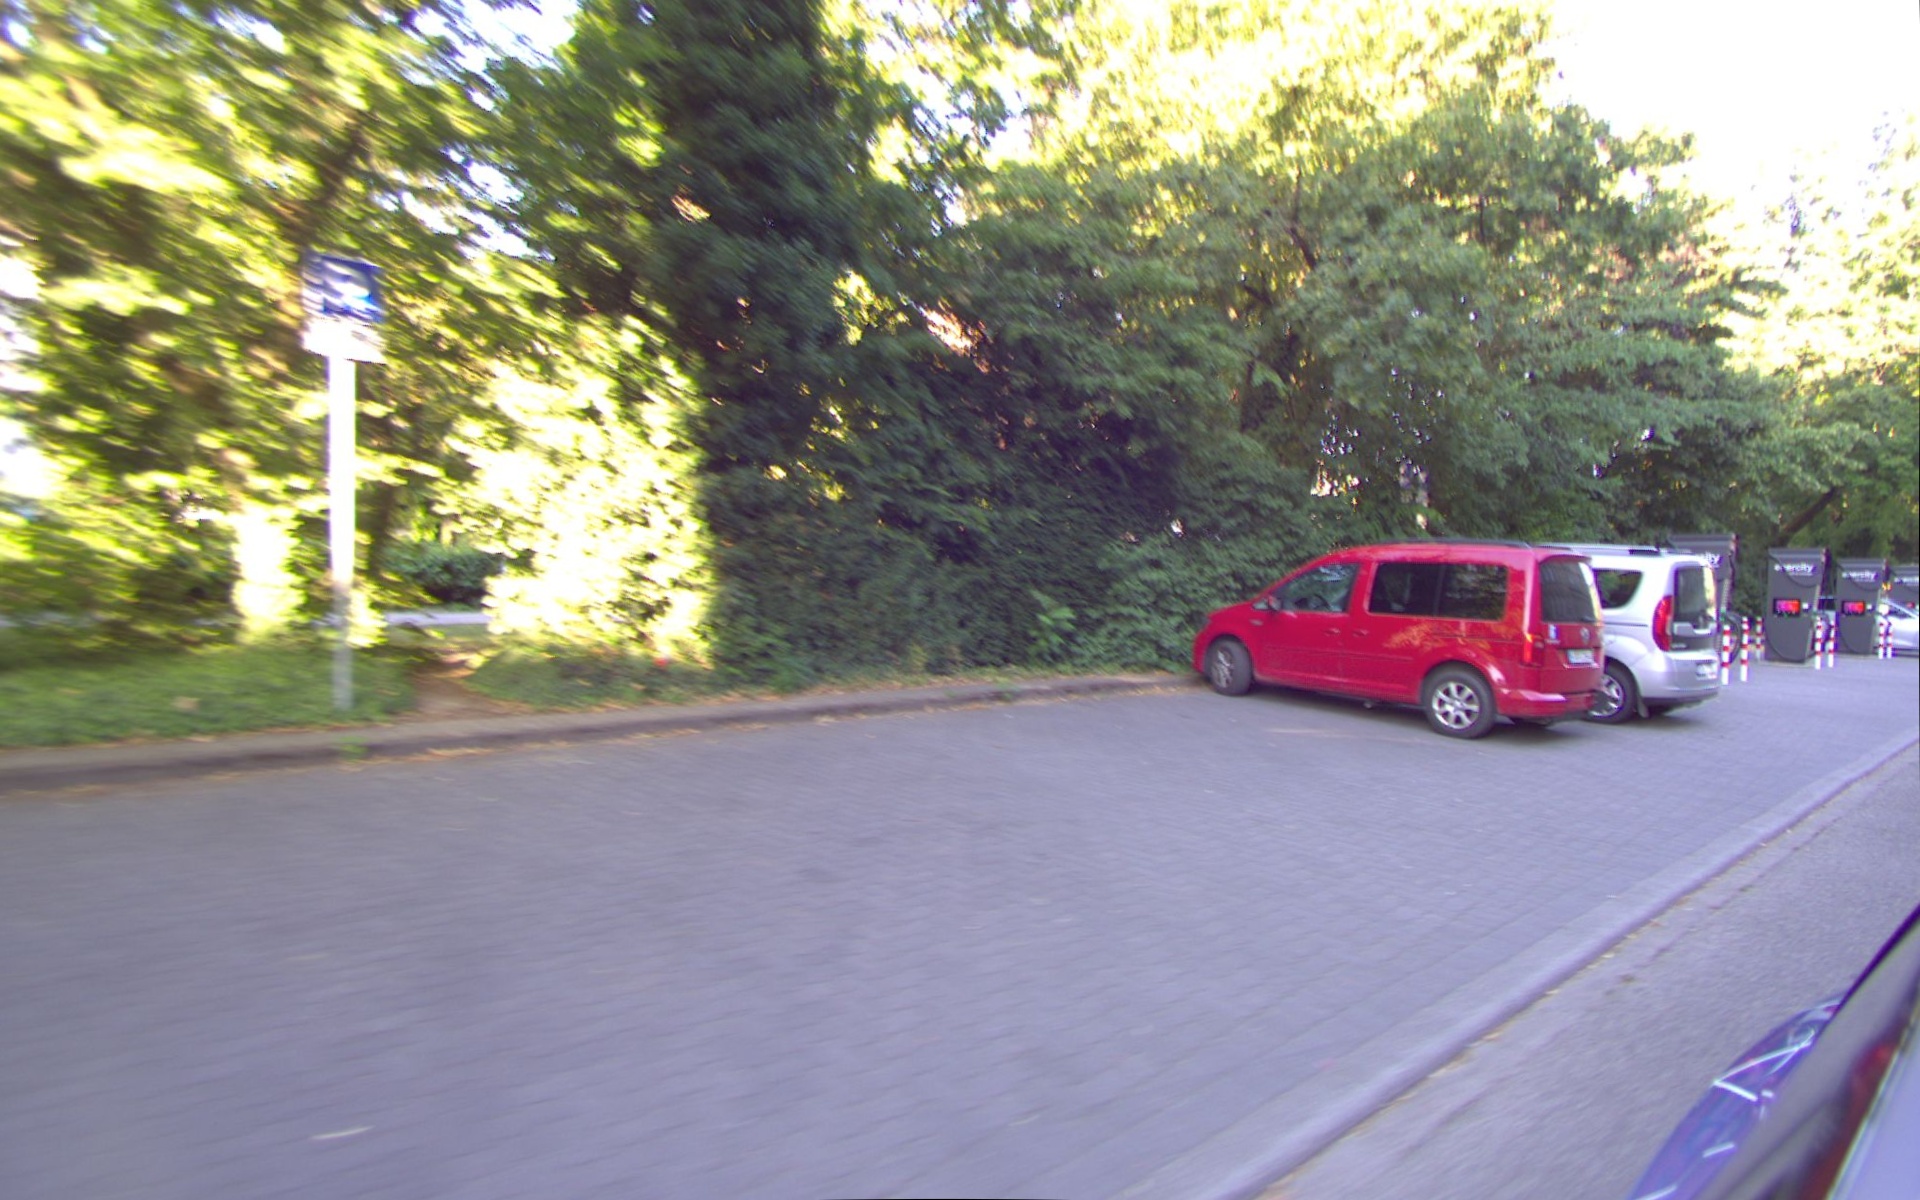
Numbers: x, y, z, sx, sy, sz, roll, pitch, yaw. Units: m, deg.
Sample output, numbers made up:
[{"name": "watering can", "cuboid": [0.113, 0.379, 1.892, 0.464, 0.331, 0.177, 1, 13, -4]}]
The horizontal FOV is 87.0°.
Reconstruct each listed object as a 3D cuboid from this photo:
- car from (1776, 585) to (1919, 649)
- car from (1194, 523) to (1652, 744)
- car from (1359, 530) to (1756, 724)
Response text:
[{"name": "car", "cuboid": [23.756, 0.430, 25.702, 1.679, 1.484, 4.445, 0, 2, -37]}, {"name": "car", "cuboid": [4.702, 0.172, 10.818, 1.883, 1.886, 3.986, 0, 3, -36]}, {"name": "car", "cuboid": [6.937, 0.178, 12.071, 1.750, 1.906, 3.614, 0, 3, -37]}]
